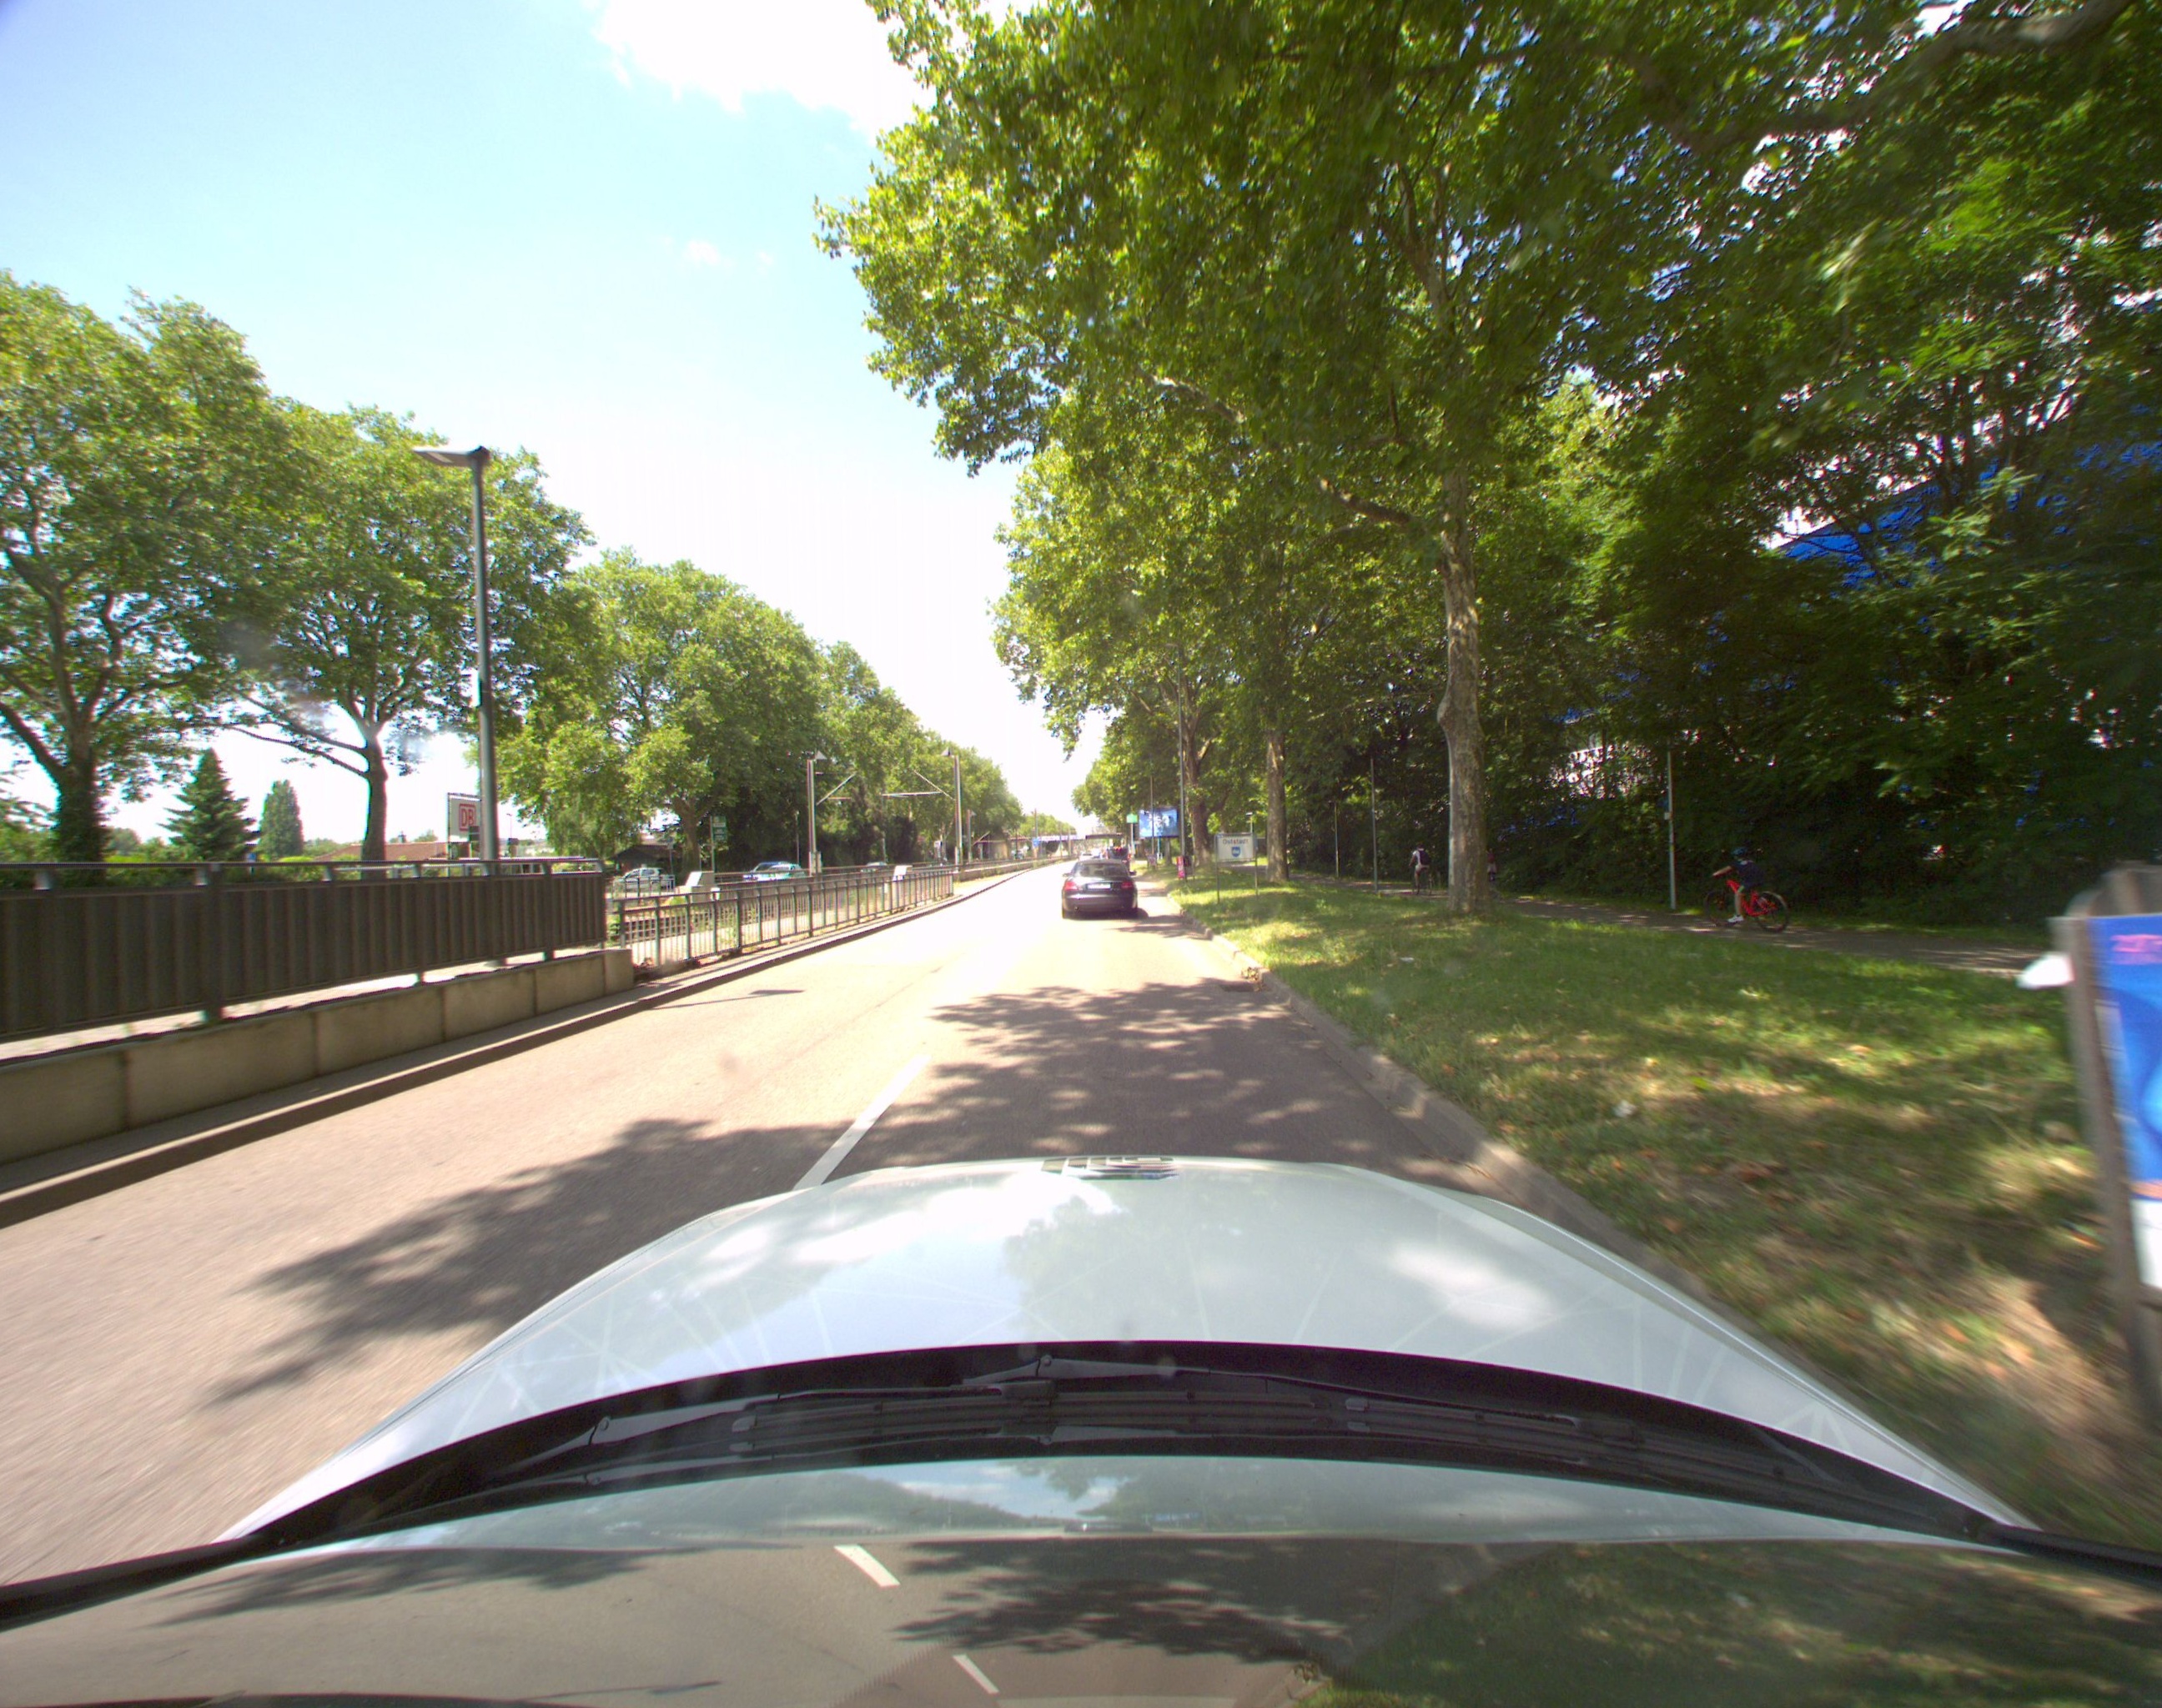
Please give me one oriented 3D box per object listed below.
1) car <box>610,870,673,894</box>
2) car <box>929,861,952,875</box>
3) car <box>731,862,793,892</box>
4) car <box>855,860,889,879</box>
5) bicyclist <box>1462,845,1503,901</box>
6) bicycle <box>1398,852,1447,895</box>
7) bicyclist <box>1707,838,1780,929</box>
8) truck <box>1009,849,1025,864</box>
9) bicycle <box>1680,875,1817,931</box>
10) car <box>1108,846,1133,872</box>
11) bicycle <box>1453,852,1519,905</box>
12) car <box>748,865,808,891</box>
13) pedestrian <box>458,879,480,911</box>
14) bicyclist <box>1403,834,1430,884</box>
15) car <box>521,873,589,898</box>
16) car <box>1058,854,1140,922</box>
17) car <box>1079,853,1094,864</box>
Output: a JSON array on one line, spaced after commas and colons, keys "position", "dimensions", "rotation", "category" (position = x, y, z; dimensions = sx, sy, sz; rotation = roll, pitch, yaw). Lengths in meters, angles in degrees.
[{"position": [-29.557, 1.868, 54.874], "dimensions": [3.316, 1.475, 1.649], "rotation": [-2, 0, -10], "category": "car"}, {"position": [-17.944, 1.730, 104.244], "dimensions": [1.859, 1.684, 4.388], "rotation": [2, 0, 4], "category": "car"}, {"position": [-19.188, 1.350, 49.198], "dimensions": [1.736, 1.684, 4.388], "rotation": [1, 0, 4], "category": "car"}, {"position": [-19.771, 1.410, 77.167], "dimensions": [1.736, 1.684, 4.388], "rotation": [-1, 0, 4], "category": "car"}, {"position": [11.698, 0.539, 23.752], "dimensions": [0.656, 1.599, 1.054], "rotation": [-2, 0, 2], "category": "bicyclist"}, {"position": [11.999, 0.641, 28.689], "dimensions": [0.608, 1.420, 2.662], "rotation": [-2, 0, 1], "category": "bicycle"}, {"position": [12.112, 0.519, 14.915], "dimensions": [0.622, 1.610, 0.814], "rotation": [-2, 0, -9], "category": "bicyclist"}, {"position": [-13.597, 0.602, 173.141], "dimensions": [2.983, 3.020, 7.993], "rotation": [-2, 0, -2], "category": "truck"}, {"position": [12.140, 0.869, 14.907], "dimensions": [0.645, 0.887, 2.016], "rotation": [-2, 0, -9], "category": "bicycle"}, {"position": [3.096, 0.405, 63.571], "dimensions": [1.840, 1.959, 4.148], "rotation": [0, 0, 4], "category": "car"}, {"position": [11.725, 0.667, 23.672], "dimensions": [0.608, 1.420, 2.662], "rotation": [-2, 0, 1], "category": "bicycle"}, {"position": [-16.550, 1.282, 44.663], "dimensions": [1.638, 1.265, 3.841], "rotation": [-2, 0, 4], "category": "car"}, {"position": [-29.069, 1.953, 38.686], "dimensions": [0.556, 1.452, 0.643], "rotation": [-1, 0, -13], "category": "pedestrian"}, {"position": [11.871, 0.165, 28.826], "dimensions": [0.595, 1.746, 0.843], "rotation": [-1, 0, 1], "category": "bicyclist"}, {"position": [-34.294, 2.013, 53.147], "dimensions": [3.316, 1.475, 1.649], "rotation": [-2, 0, -10], "category": "car"}, {"position": [0.372, 0.779, 20.508], "dimensions": [1.837, 1.484, 3.998], "rotation": [-1, 0, -1], "category": "car"}, {"position": [0.725, 0.572, 108.192], "dimensions": [1.840, 1.464, 3.999], "rotation": [-2, 0, 0], "category": "car"}]
